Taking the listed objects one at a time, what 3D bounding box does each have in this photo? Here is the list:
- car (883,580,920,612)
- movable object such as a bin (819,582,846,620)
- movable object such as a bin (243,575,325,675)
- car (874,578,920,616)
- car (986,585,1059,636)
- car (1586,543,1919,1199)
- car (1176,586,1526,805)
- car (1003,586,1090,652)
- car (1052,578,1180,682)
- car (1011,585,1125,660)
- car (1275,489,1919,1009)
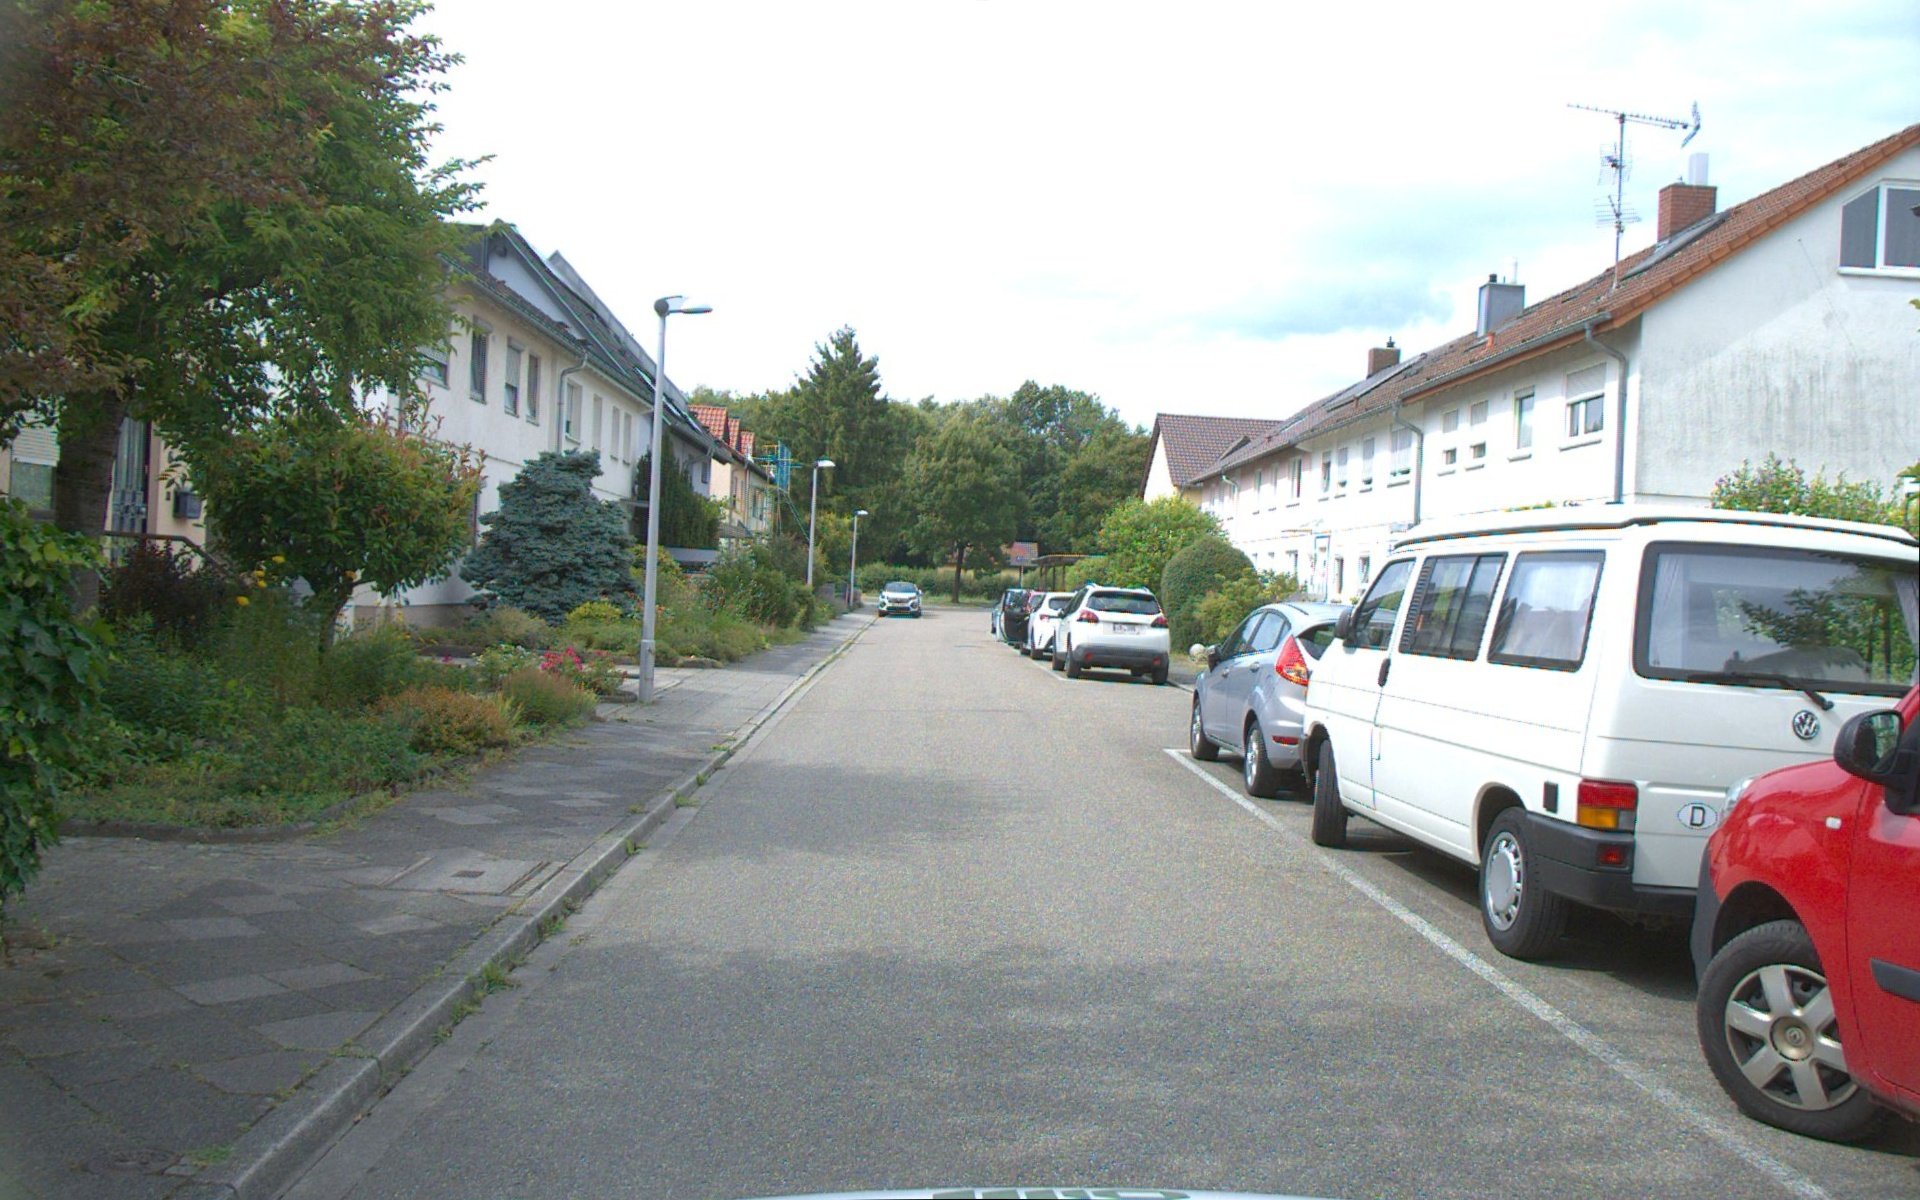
[{"bbox_3d":[-2.939,-0.221,83.933,1.755,1.558,4.139,2,1,-1],"label":"car"},{"bbox_3d":[-4.682,0.032,60.880,0.930,1.335,1.000,2,0,-2],"label":"movable object such as a bin"},{"bbox_3d":[-7.150,0.259,17.511,0.639,1.020,0.542,1,0,-2],"label":"movable object such as a bin"},{"bbox_3d":[-2.750,-0.146,73.078,1.895,1.583,4.633,2,1,-1],"label":"car"},{"bbox_3d":[1.940,0.297,52.312,1.828,1.441,4.250,3,1,-4],"label":"car"},{"bbox_3d":[3.334,0.730,3.794,1.775,1.679,4.406,2,1,-5],"label":"car"},{"bbox_3d":[3.066,0.669,13.892,1.862,1.485,4.129,2,1,-1],"label":"car"},{"bbox_3d":[2.134,0.431,41.984,1.738,1.460,4.825,4,0,-1],"label":"car"},{"bbox_3d":[2.631,0.463,28.719,1.679,1.570,3.973,4,1,-1],"label":"car"},{"bbox_3d":[2.274,0.444,35.972,1.802,1.437,4.633,2,1,-4],"label":"car"},{"bbox_3d":[3.273,0.561,8.792,1.980,1.981,4.744,2,1,-4],"label":"car"}]
